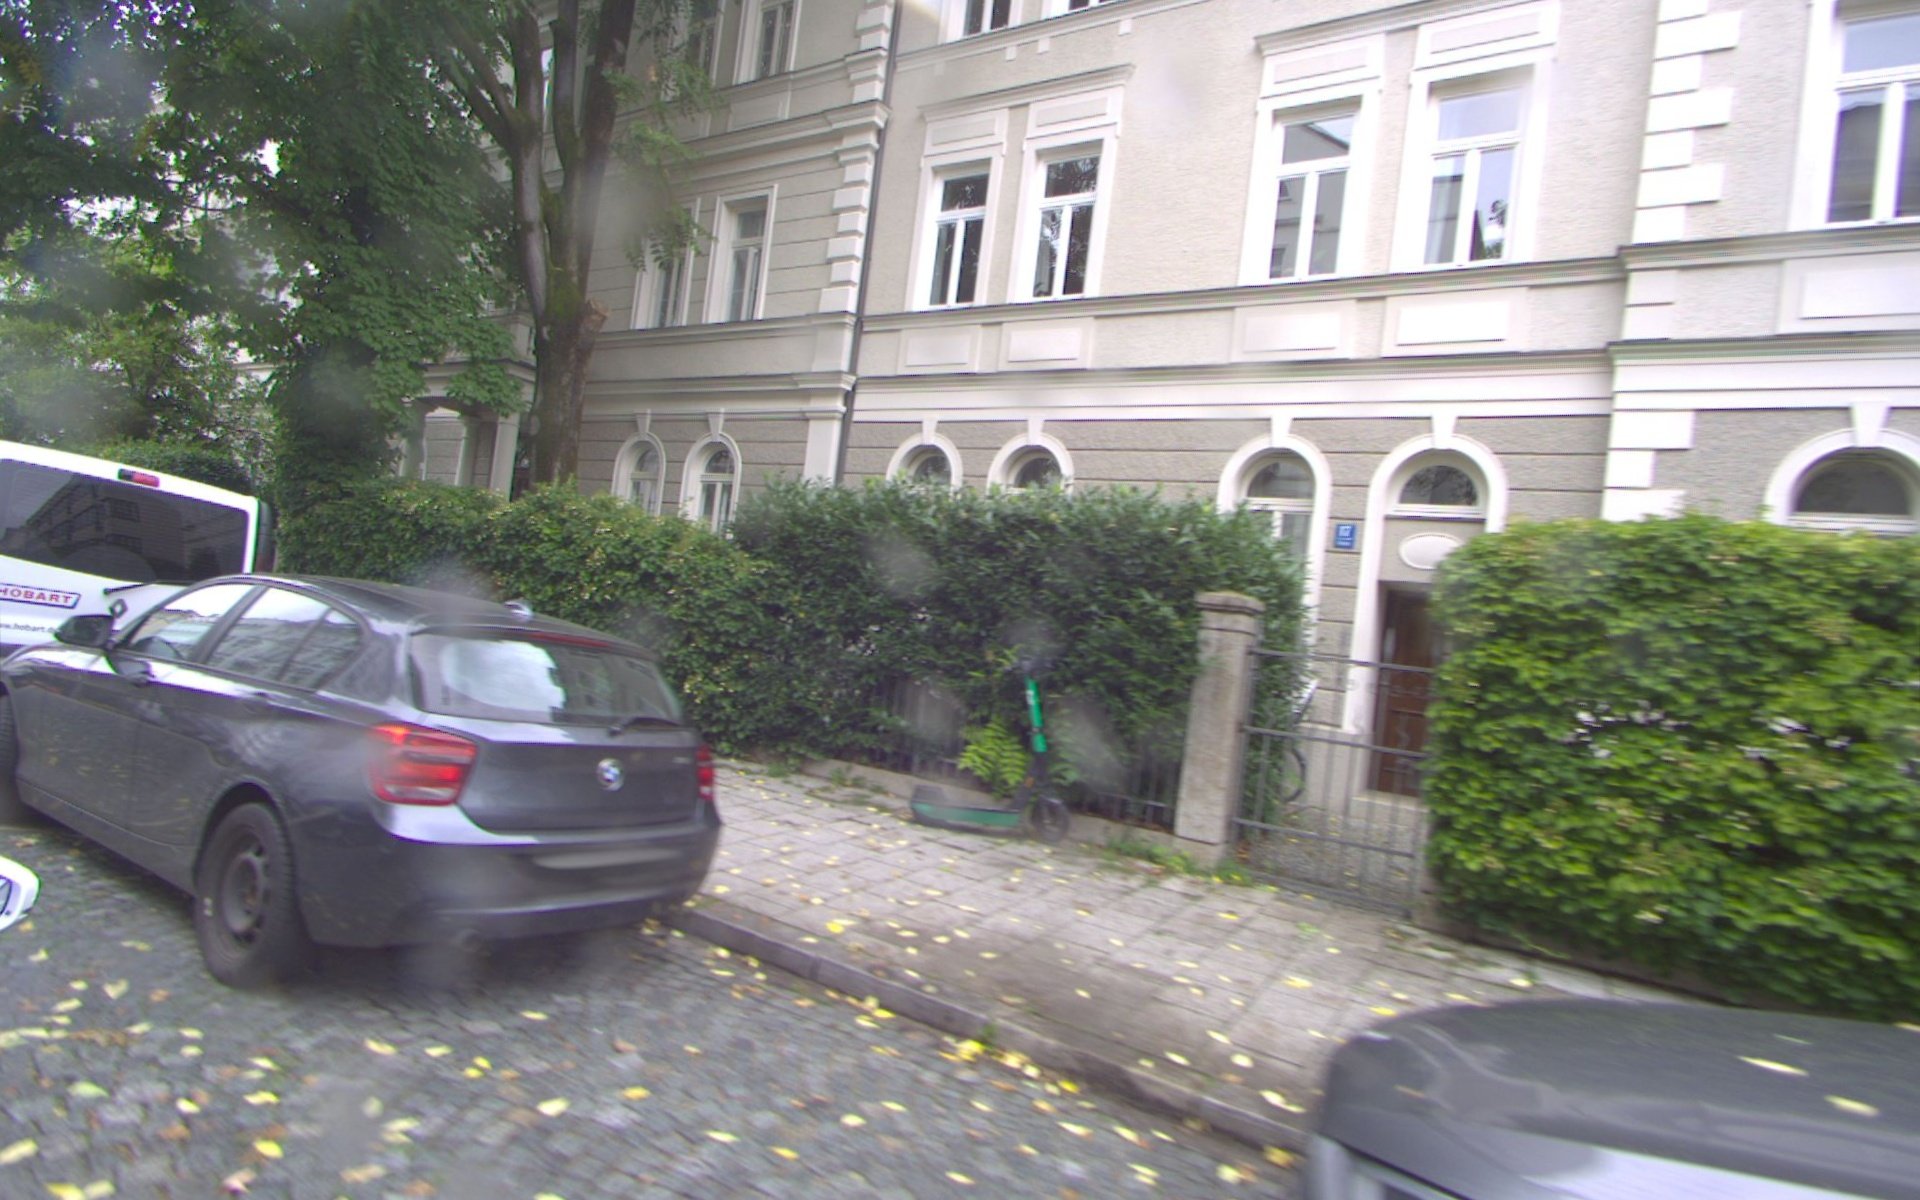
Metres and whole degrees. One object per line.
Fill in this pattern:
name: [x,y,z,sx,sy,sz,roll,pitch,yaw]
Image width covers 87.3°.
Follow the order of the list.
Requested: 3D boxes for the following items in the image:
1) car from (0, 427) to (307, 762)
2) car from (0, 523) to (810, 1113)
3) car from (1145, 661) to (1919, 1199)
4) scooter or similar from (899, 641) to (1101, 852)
car: [-7.529,-0.183,7.731,5.076,1.948,1.880,7,-4,30]
car: [-3.064,0.641,4.841,4.349,1.506,1.842,6,-4,33]
car: [2.536,1.162,1.328,4.197,1.488,1.719,7,-4,31]
scooter or similar: [0.277,0.990,7.070,1.223,1.251,0.415,7,3,20]
